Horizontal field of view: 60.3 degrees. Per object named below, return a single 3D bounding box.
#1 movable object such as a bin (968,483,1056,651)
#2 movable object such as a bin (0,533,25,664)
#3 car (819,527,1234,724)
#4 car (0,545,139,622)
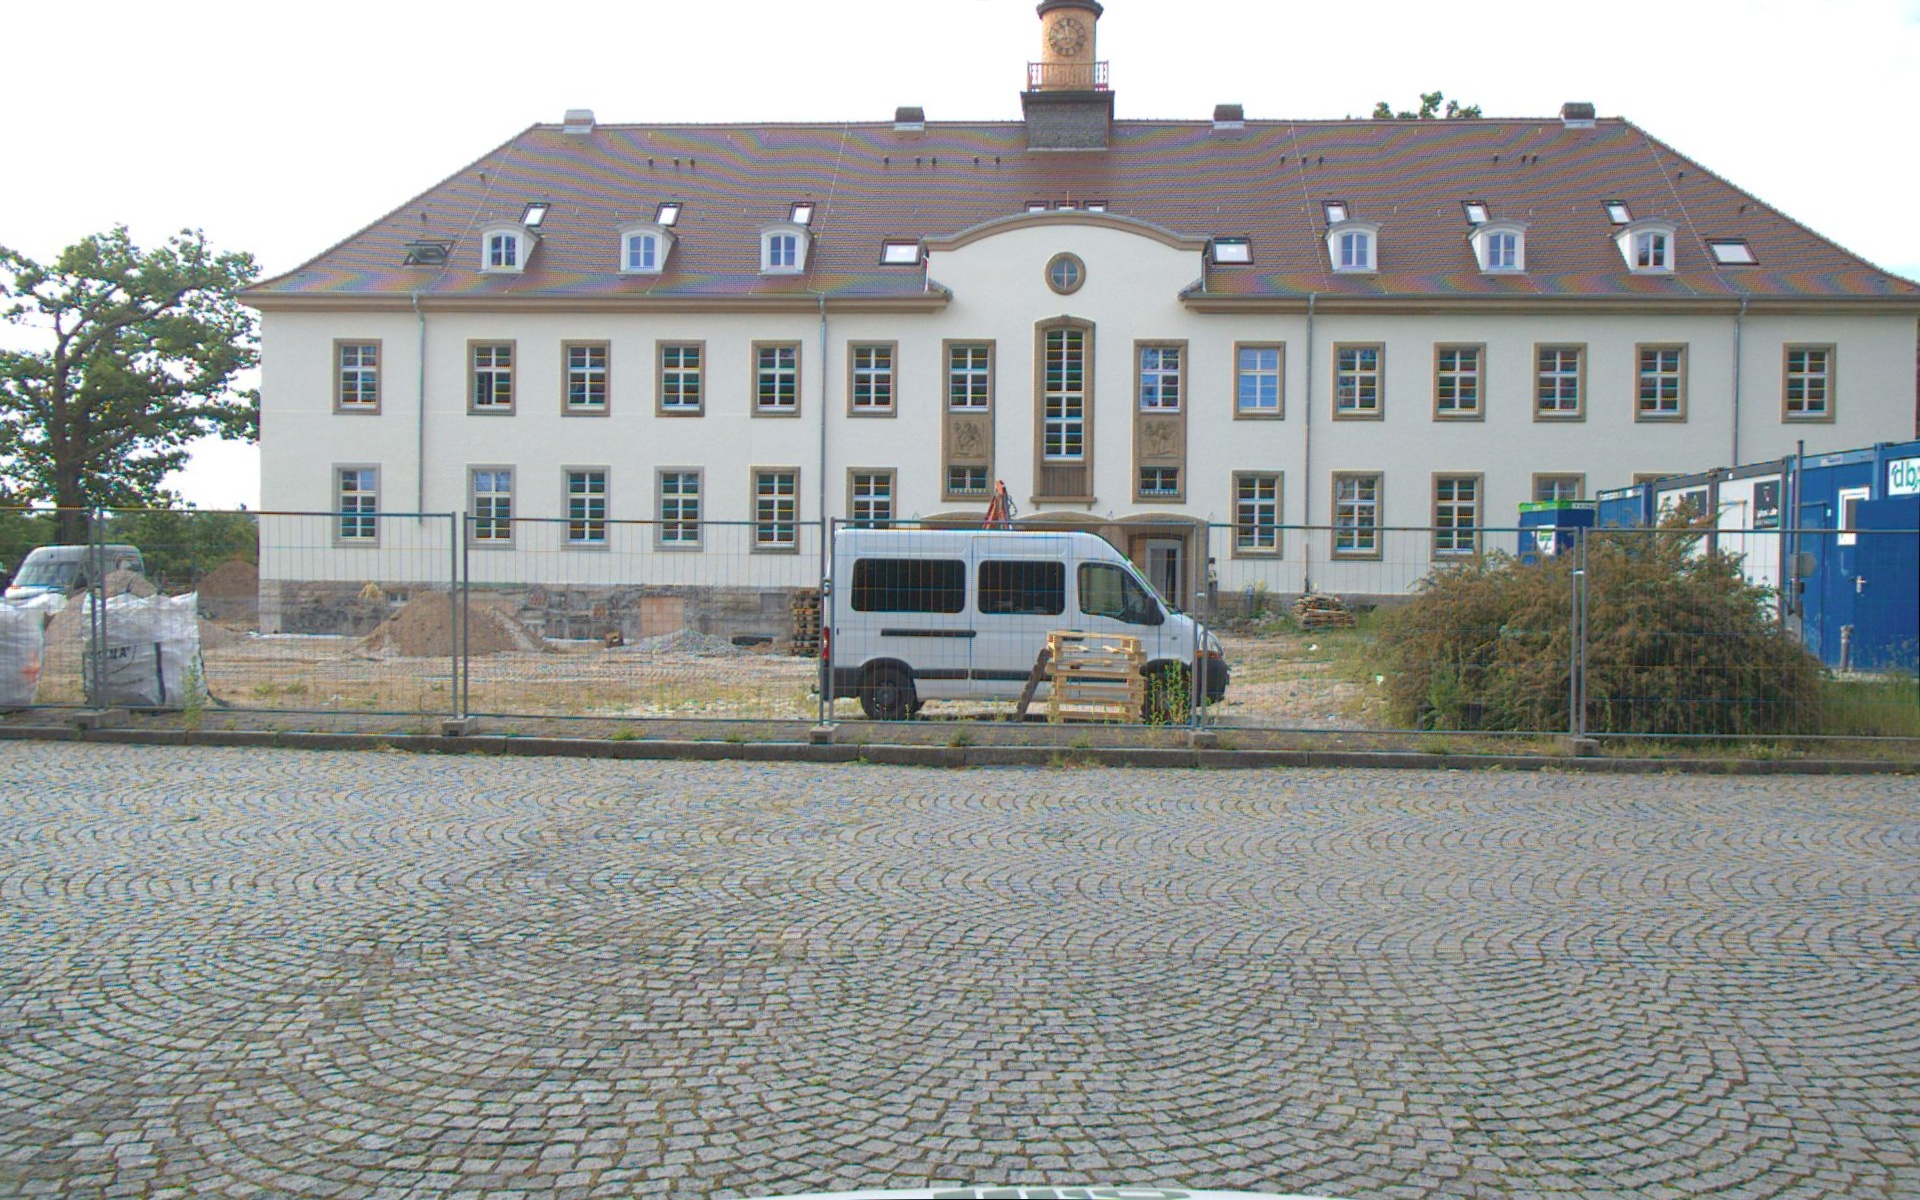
[{"bbox_3d":[1.218,-0.789,40.662,1.953,3.837,5.317,1,0,0],"label":"movable object such as a bin"},{"bbox_3d":[-21.651,-0.049,32.696,5.218,2.601,2.001,0,0,2],"label":"movable object such as a bin"},{"bbox_3d":[0.886,0.299,21.563,5.151,2.385,1.911,1,0,5],"label":"car"},{"bbox_3d":[-26.831,-0.504,49.717,2.026,2.188,4.896,0,0,-3],"label":"car"}]
